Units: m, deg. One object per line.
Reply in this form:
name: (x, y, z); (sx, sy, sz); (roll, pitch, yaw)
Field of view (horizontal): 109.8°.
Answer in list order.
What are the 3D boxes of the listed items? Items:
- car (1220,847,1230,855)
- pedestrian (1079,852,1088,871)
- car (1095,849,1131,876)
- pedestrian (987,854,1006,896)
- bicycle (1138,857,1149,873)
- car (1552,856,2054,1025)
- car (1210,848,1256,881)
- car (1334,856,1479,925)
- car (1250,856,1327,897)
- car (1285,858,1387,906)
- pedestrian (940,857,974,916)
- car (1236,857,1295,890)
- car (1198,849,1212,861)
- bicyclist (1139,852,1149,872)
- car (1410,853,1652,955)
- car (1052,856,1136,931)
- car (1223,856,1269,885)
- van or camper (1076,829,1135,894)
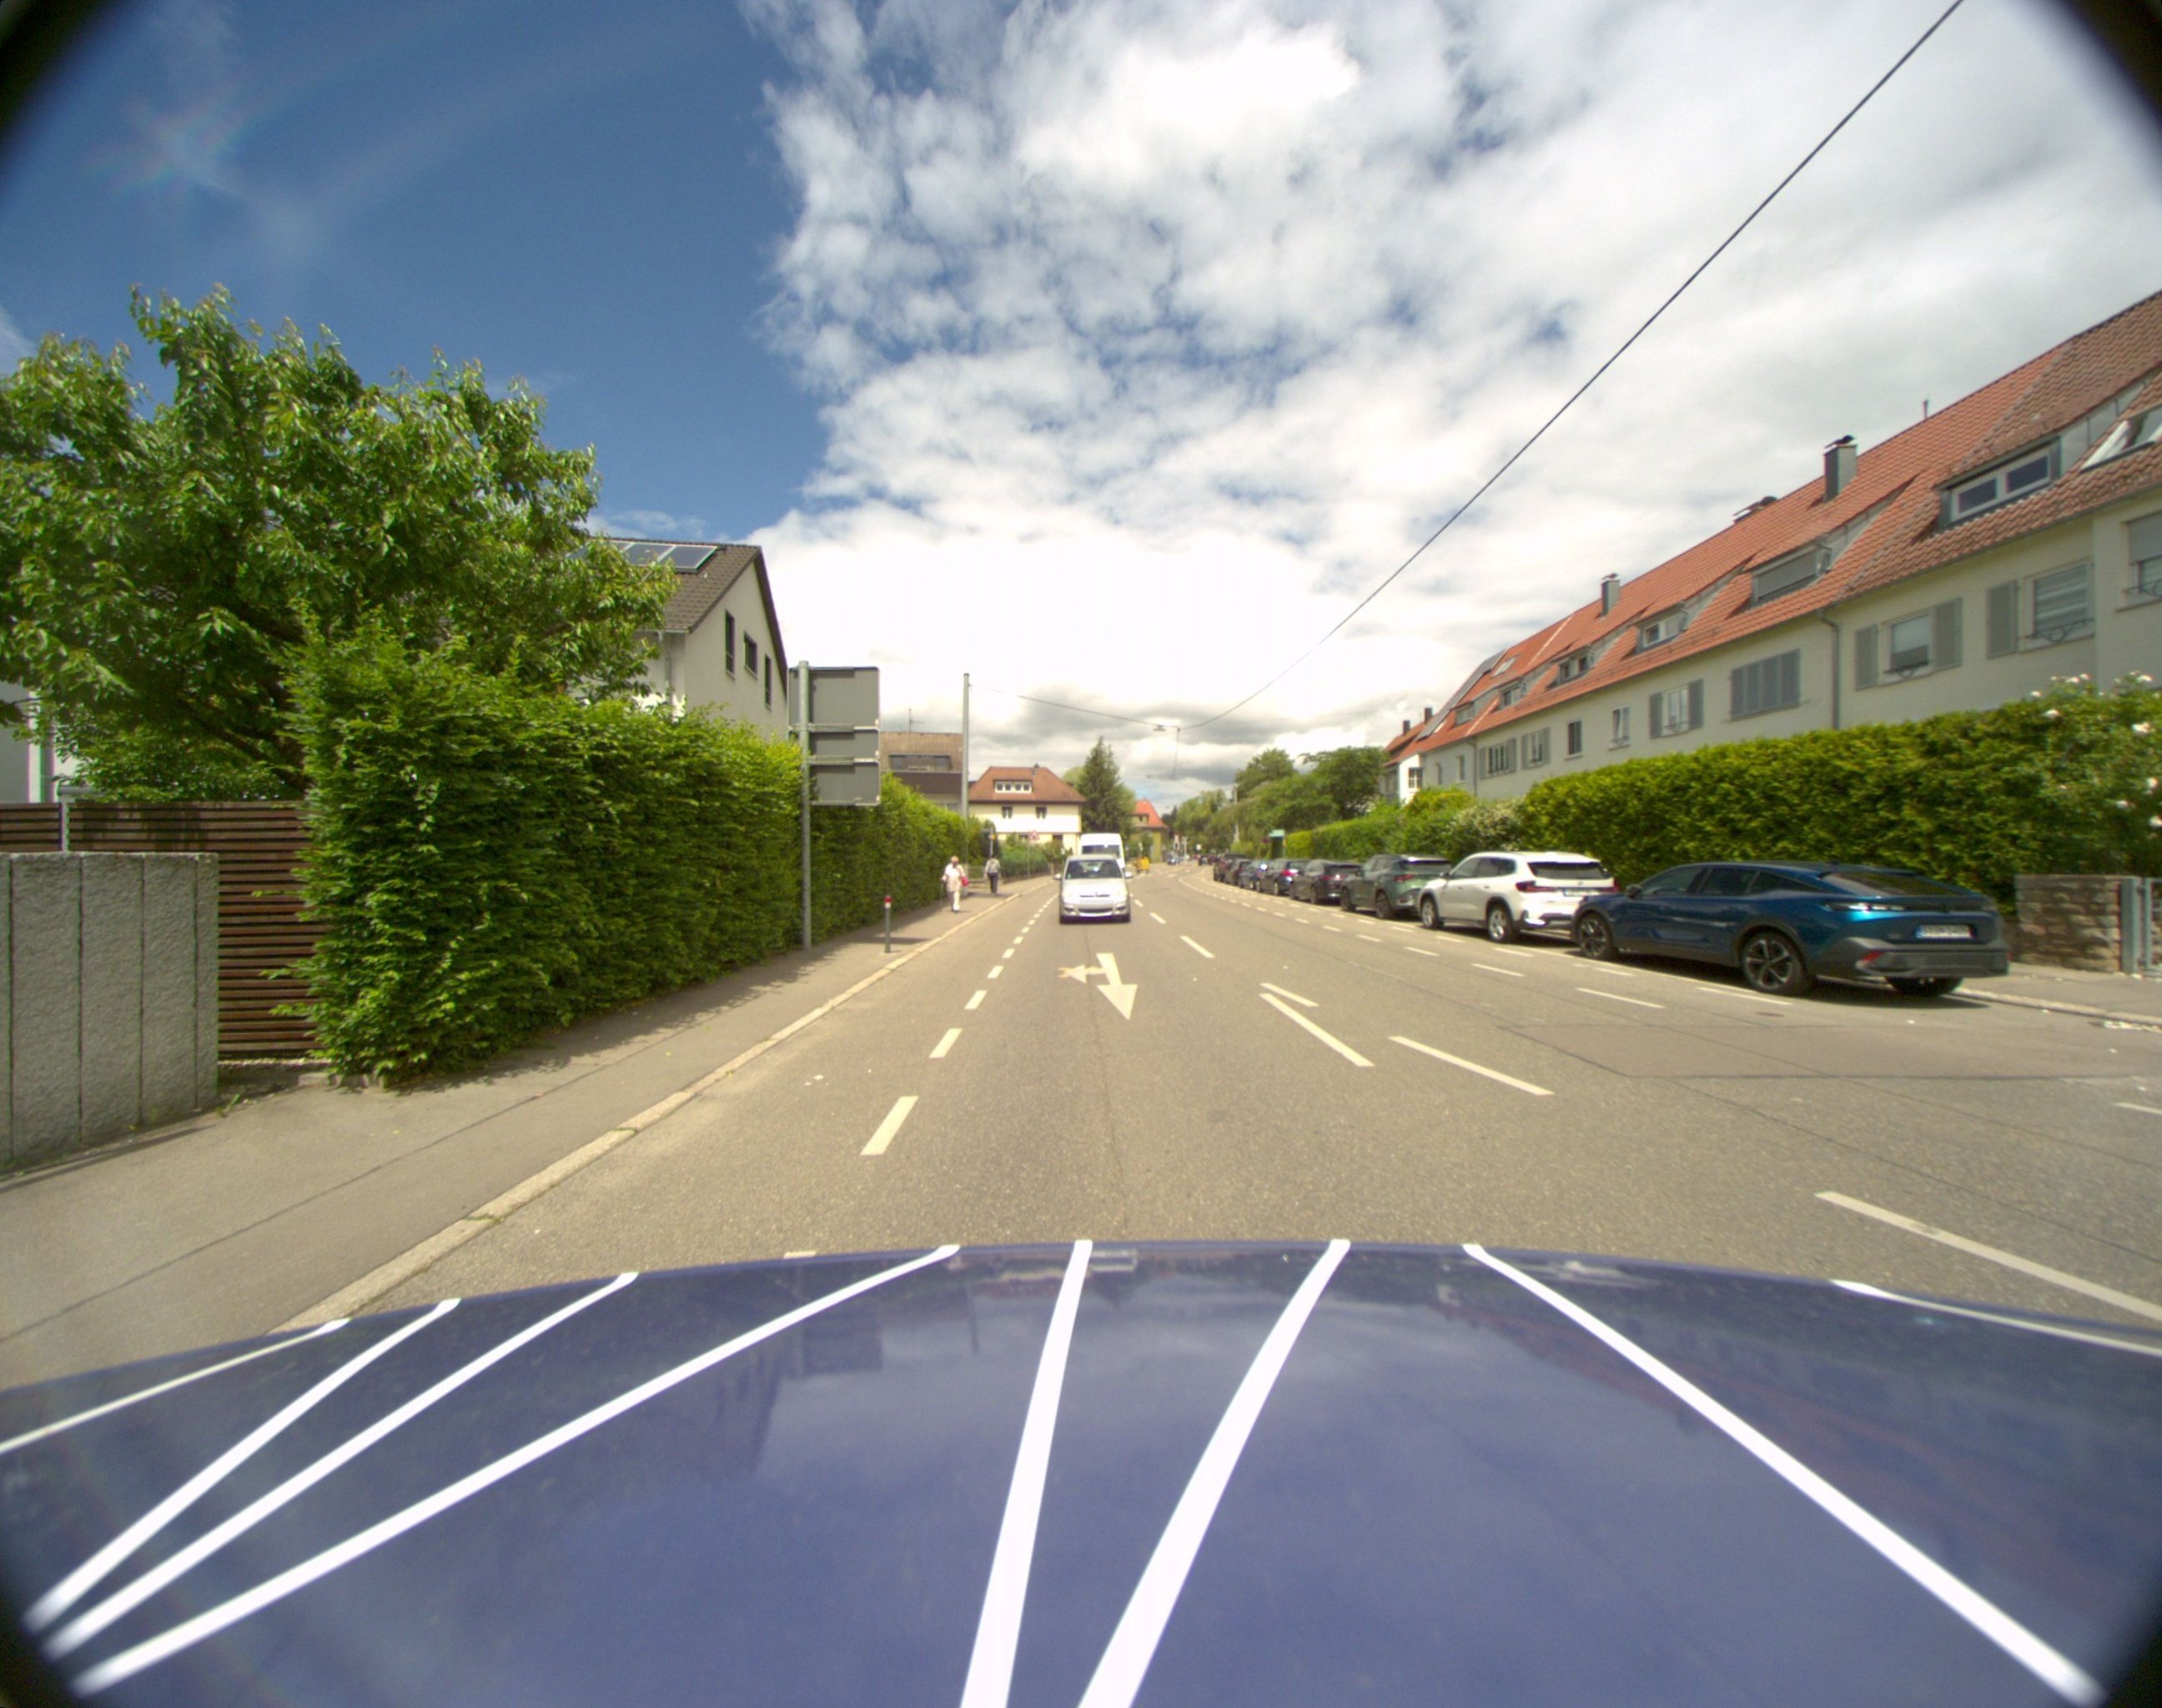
car: (29.550, -0.695, 155.760); (1.850, 1.565, 4.162); (-1, 0, 10)
pedestrian: (0.197, 0.614, 60.863); (0.736, 1.508, 0.872); (-1, 1, 0)
car: (2.329, 0.587, 54.133); (1.931, 1.771, 4.003); (-2, 0, 11)
pedestrian: (-3.288, 0.802, 29.572); (0.604, 1.596, 0.836); (1, 1, 2)
bicycle: (5.335, 0.944, 65.074); (0.865, 1.294, 2.662); (0, 0, 4)
car: (8.341, 0.834, 9.553); (1.999, 1.578, 4.488); (0, 0, -1)
car: (9.309, 0.617, 46.887); (1.998, 1.884, 5.404); (1, 0, 3)
car: (8.335, 0.860, 19.992); (1.998, 1.555, 4.690); (0, 0, 2)
car: (8.347, 0.862, 30.966); (1.782, 1.483, 4.564); (0, 0, -2)
car: (8.401, 0.876, 25.496); (1.998, 1.400, 4.690); (0, 0, 2)
pedestrian: (-3.443, 0.885, 21.074); (0.801, 1.608, 0.653); (1, 1, 2)
car: (8.657, 0.885, 35.954); (1.782, 1.409, 4.440); (0, 0, 1)
car: (17.984, 0.095, 110.140); (1.919, 1.639, 4.297); (3, 1, 11)
bicyclist: (5.397, 0.662, 65.008); (0.794, 1.704, 1.209); (0, 1, 5)
car: (8.271, 0.808, 14.569); (1.998, 1.641, 4.517); (0, 0, 0)
car: (0.434, 0.855, 18.476); (1.707, 1.531, 4.332); (-2, 0, 5)
car: (8.913, 0.860, 41.393); (1.782, 1.409, 4.340); (0, 0, 3)
van or camper: (1.188, 0.343, 33.731); (2.029, 2.564, 5.926); (-2, -1, 7)
